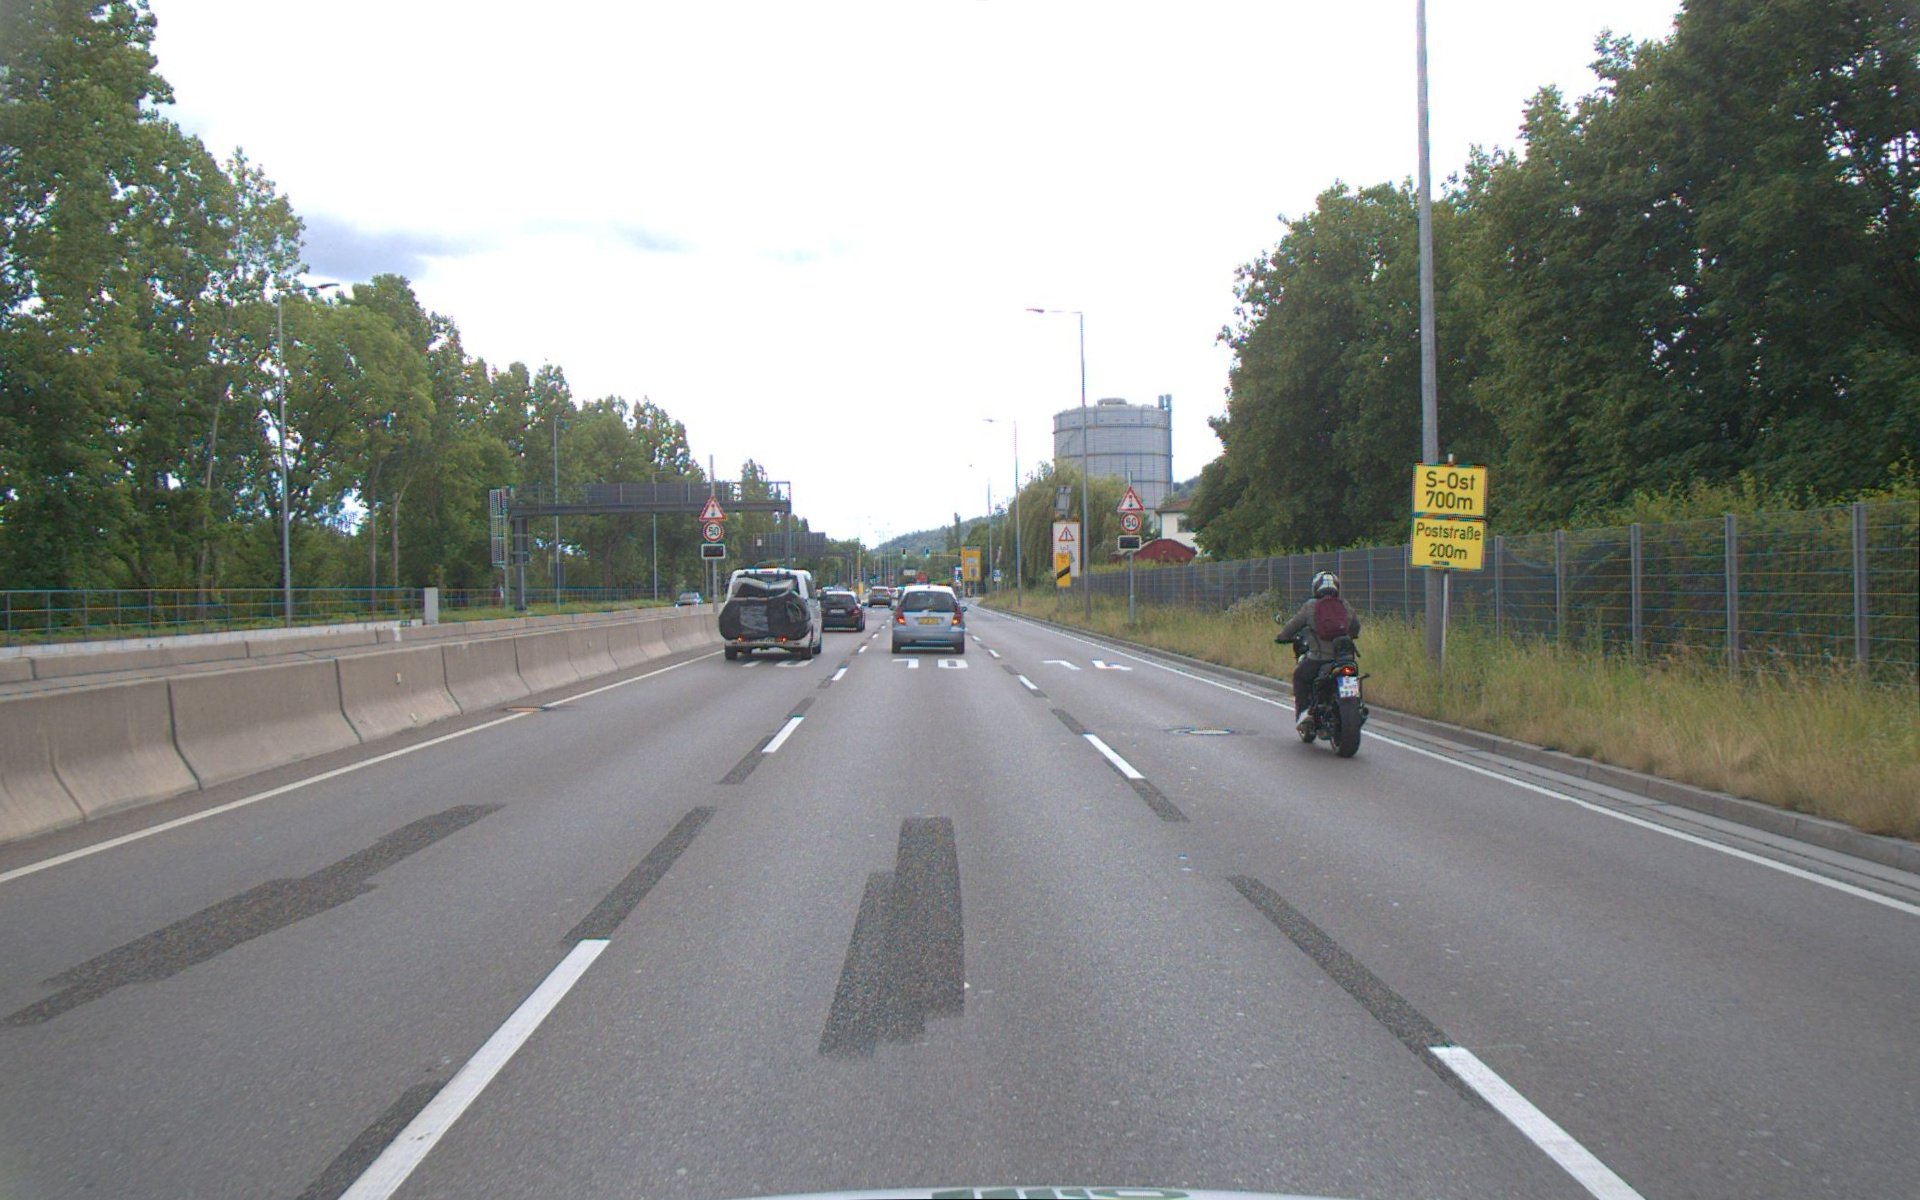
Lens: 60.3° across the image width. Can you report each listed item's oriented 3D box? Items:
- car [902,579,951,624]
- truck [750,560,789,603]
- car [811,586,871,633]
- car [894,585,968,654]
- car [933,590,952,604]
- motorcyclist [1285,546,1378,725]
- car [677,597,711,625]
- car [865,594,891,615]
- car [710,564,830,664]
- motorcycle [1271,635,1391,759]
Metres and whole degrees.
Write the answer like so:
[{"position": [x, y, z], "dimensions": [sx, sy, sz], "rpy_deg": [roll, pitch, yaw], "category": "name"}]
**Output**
[{"position": [-1.329, 0.061, 66.438], "dimensions": [1.869, 1.713, 3.999], "rpy_deg": [1, 0, -1], "category": "car"}, {"position": [-14.722, -1.402, 128.216], "dimensions": [2.355, 3.161, 7.198], "rpy_deg": [1, 0, -2], "category": "truck"}, {"position": [-4.218, 0.323, 58.974], "dimensions": [1.953, 1.579, 3.998], "rpy_deg": [1, 0, -2], "category": "car"}, {"position": [-0.727, 0.437, 40.122], "dimensions": [1.676, 1.557, 3.999], "rpy_deg": [1, 0, -2], "category": "car"}, {"position": [-2.007, -0.307, 188.918], "dimensions": [1.953, 1.579, 3.998], "rpy_deg": [1, 0, -2], "category": "car"}, {"position": [3.530, 0.329, 15.769], "dimensions": [0.670, 1.638, 0.845], "rpy_deg": [1, 0, 0], "category": "motorcyclist"}, {"position": [-19.915, 0.807, 123.782], "dimensions": [1.953, 2.049, 3.999], "rpy_deg": [1, 0, -1], "category": "car"}, {"position": [-6.444, 0.356, 130.627], "dimensions": [1.953, 1.579, 3.998], "rpy_deg": [1, 0, -2], "category": "car"}, {"position": [-3.994, 0.269, 35.619], "dimensions": [2.170, 1.959, 5.000], "rpy_deg": [1, 0, -2], "category": "car"}, {"position": [3.516, 0.890, 15.825], "dimensions": [0.692, 1.058, 2.027], "rpy_deg": [1, 0, 0], "category": "motorcycle"}]
